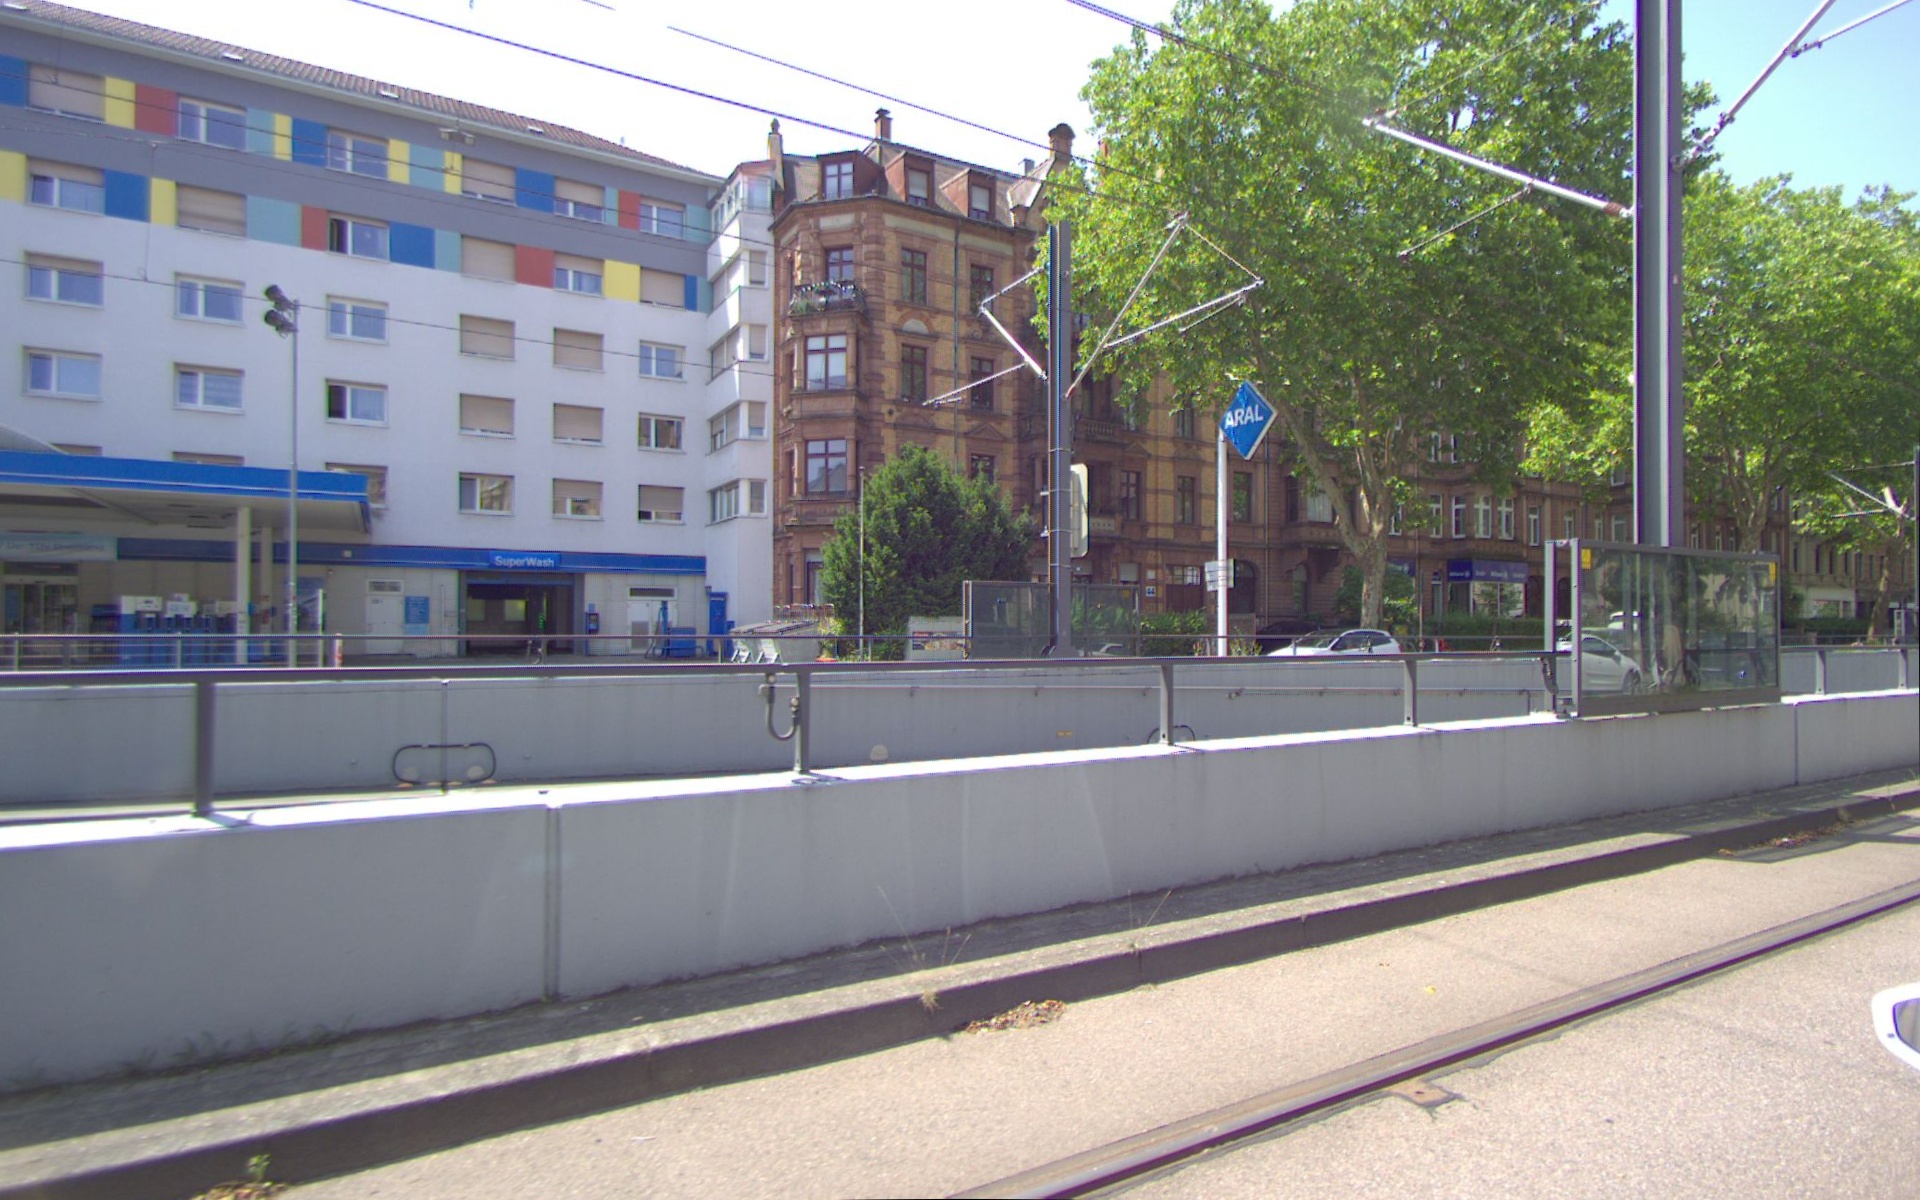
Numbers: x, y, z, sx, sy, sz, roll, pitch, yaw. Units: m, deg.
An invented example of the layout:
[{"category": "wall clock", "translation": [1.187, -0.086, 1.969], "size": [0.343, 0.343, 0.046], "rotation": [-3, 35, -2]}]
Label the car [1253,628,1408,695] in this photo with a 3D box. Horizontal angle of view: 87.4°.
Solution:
[{"category": "car", "translation": [9.432, 1.504, 25.512], "size": [3.828, 1.582, 1.538], "rotation": [1, -1, -27]}]

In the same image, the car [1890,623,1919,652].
[{"category": "car", "translation": [49.704, 1.923, 51.562], "size": [4.150, 1.419, 1.842], "rotation": [1, -1, -31]}]

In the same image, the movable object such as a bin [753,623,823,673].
[{"category": "movable object such as a bin", "translation": [-5.000, 1.366, 29.074], "size": [1.453, 1.403, 1.773], "rotation": [1, -1, -32]}]

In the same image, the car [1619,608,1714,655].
[{"category": "car", "translation": [26.870, 1.192, 38.175], "size": [3.665, 1.707, 1.645], "rotation": [1, -1, -31]}]

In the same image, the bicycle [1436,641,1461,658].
[{"category": "bicycle", "translation": [20.207, 2.041, 41.543], "size": [1.329, 0.659, 0.278], "rotation": [1, -1, -32]}]

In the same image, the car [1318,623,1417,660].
[{"category": "car", "translation": [16.618, 1.678, 41.098], "size": [1.635, 1.444, 3.460], "rotation": [1, -1, -34]}]

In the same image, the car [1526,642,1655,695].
[{"category": "car", "translation": [22.179, 2.347, 35.293], "size": [4.664, 1.646, 1.983], "rotation": [1, -1, -31]}]
